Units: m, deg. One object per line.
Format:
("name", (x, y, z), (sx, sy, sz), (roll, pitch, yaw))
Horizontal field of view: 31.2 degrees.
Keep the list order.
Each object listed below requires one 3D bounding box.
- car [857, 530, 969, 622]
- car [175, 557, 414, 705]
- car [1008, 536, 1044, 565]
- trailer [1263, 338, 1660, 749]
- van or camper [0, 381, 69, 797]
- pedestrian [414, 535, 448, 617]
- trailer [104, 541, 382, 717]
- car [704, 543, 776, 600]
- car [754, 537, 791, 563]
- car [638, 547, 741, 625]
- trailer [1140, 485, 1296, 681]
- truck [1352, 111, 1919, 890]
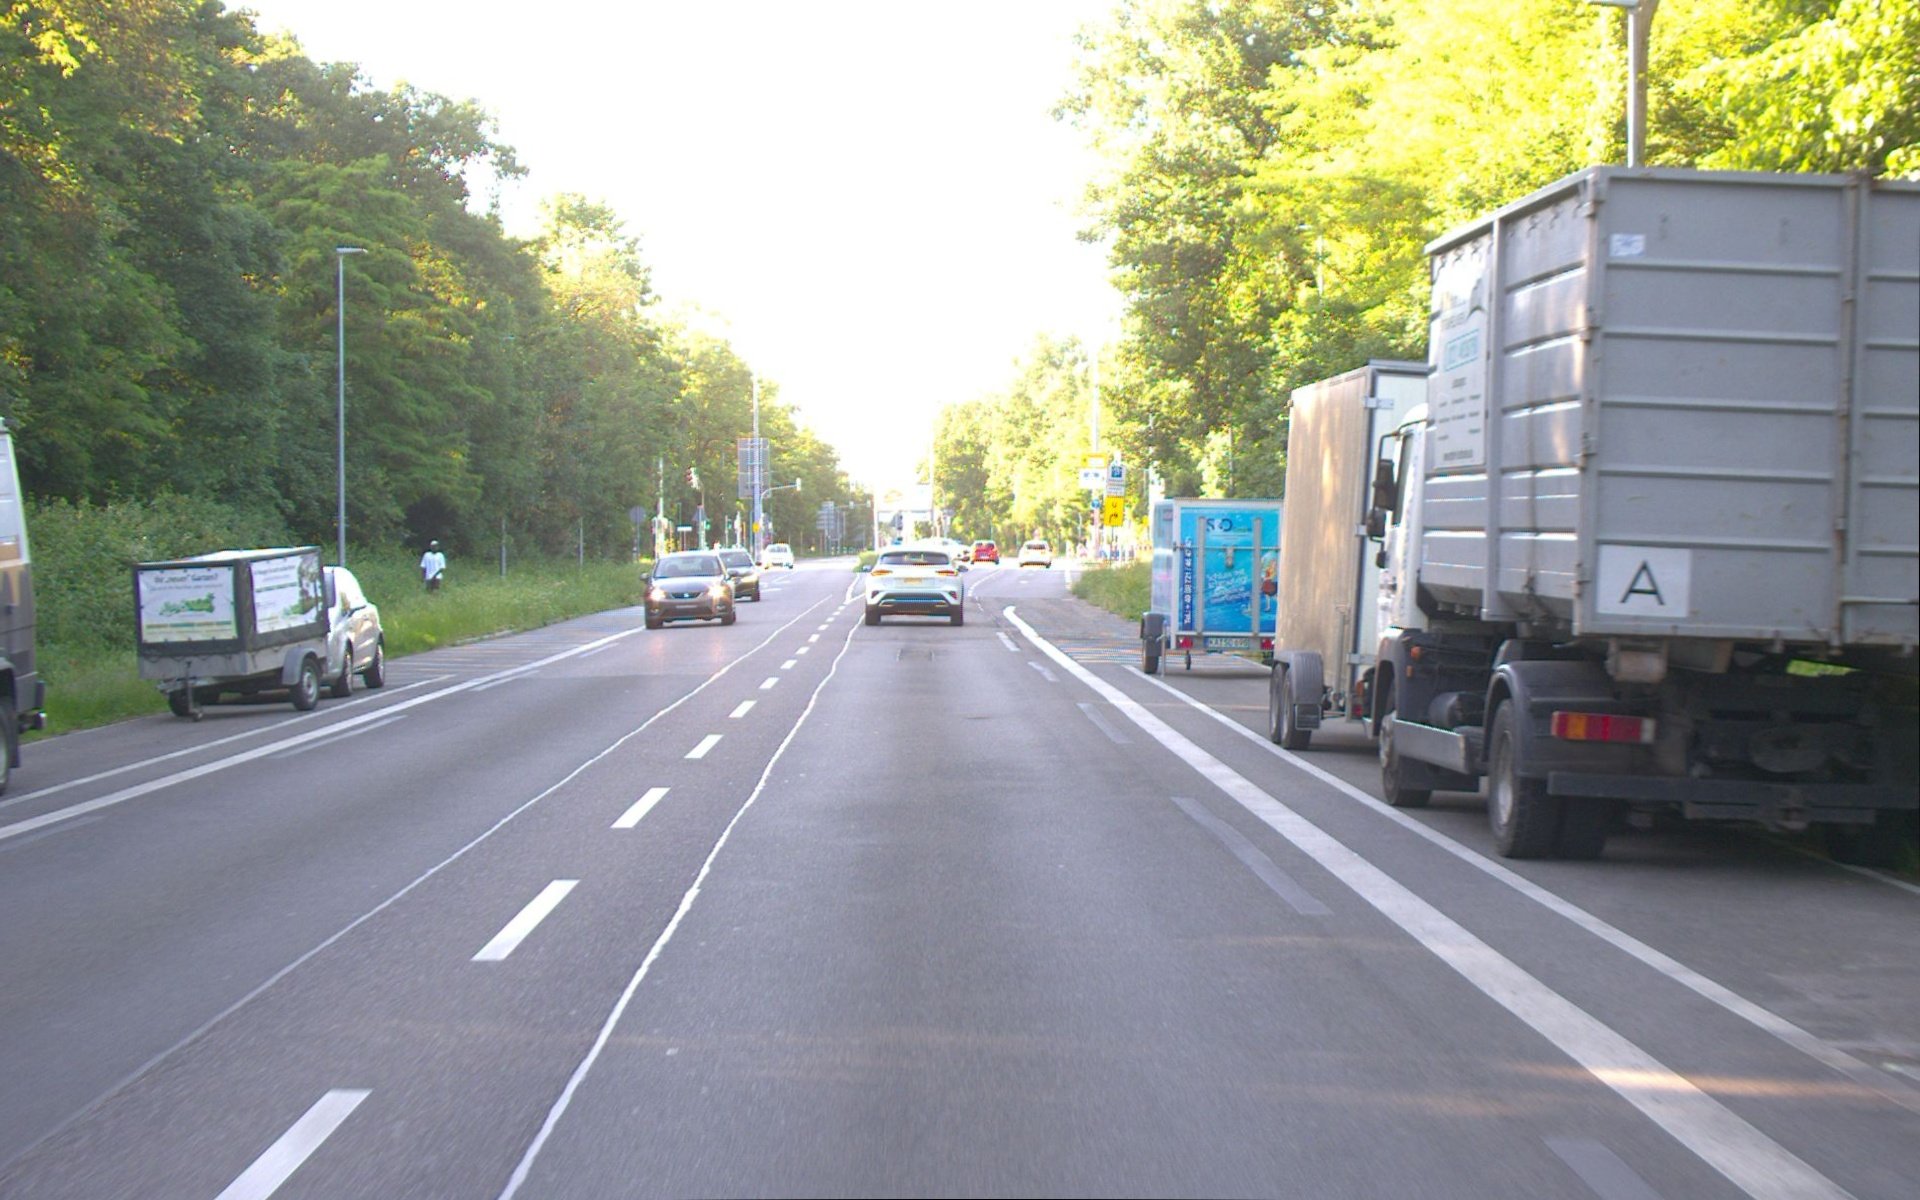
("car", (-0.878, -0.467, 64.336), (1.993, 1.634, 4.000), (-1, 1, -1))
("car", (-7.568, 0.311, 39.468), (1.867, 1.458, 4.133), (-4, 1, 0))
("car", (3.793, -2.869, 197.927), (1.993, 1.612, 4.000), (1, 1, 0))
("trailer", (3.717, -0.439, 26.521), (2.272, 2.835, 5.207), (1, 1, 0))
("van or camper", (-7.519, 0.000, 21.610), (2.302, 2.758, 5.557), (-3, 1, -1))
("pedestrian", (-13.078, -0.606, 85.011), (0.693, 2.007, 0.712), (1, 1, 0))
("trailer", (-7.227, 0.256, 34.939), (1.471, 1.654, 3.364), (-2, 0, 12))
("car", (-6.059, -0.813, 95.034), (1.678, 1.485, 4.690), (-1, 1, 0))
("car", (-10.992, -2.933, 202.107), (1.993, 1.459, 4.000), (0, 1, -1))
("car", (-5.200, -0.299, 66.554), (1.678, 1.411, 4.000), (-1, 1, 0))
("trailer", (3.086, -0.236, 41.808), (1.500, 2.228, 4.550), (1, 1, 0))
("truck", (3.784, -0.473, 18.405), (2.505, 3.355, 7.108), (0, 1, 0))
